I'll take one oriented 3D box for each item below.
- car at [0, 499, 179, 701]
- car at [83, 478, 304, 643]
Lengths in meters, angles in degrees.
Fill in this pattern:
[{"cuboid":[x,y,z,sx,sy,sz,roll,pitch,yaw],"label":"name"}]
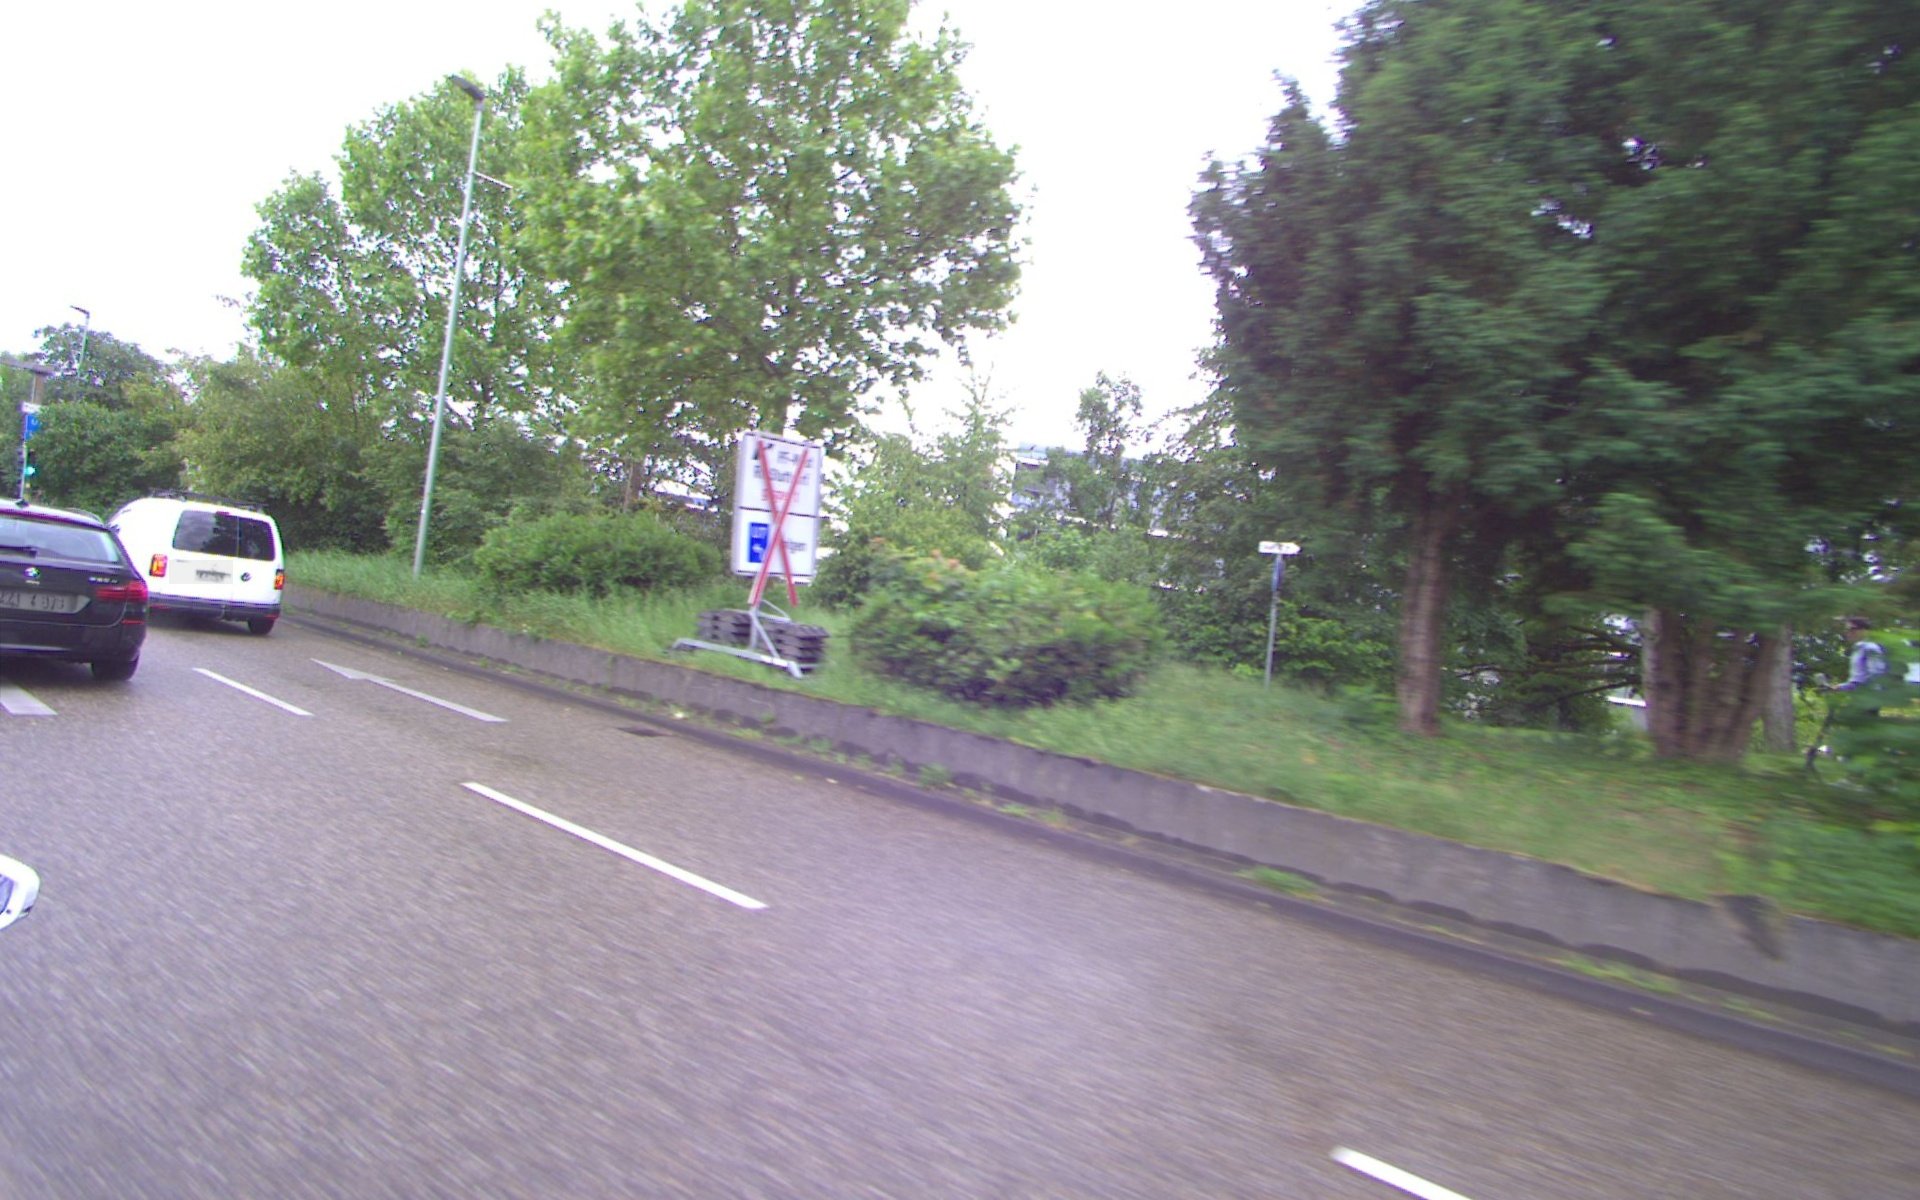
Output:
[{"cuboid":[-8.729,-0.179,8.882,3.941,1.457,1.900,6,-3,39],"label":"car"},{"cuboid":[-11.658,-0.644,15.222,3.750,1.900,1.764,10,1,41],"label":"car"}]
